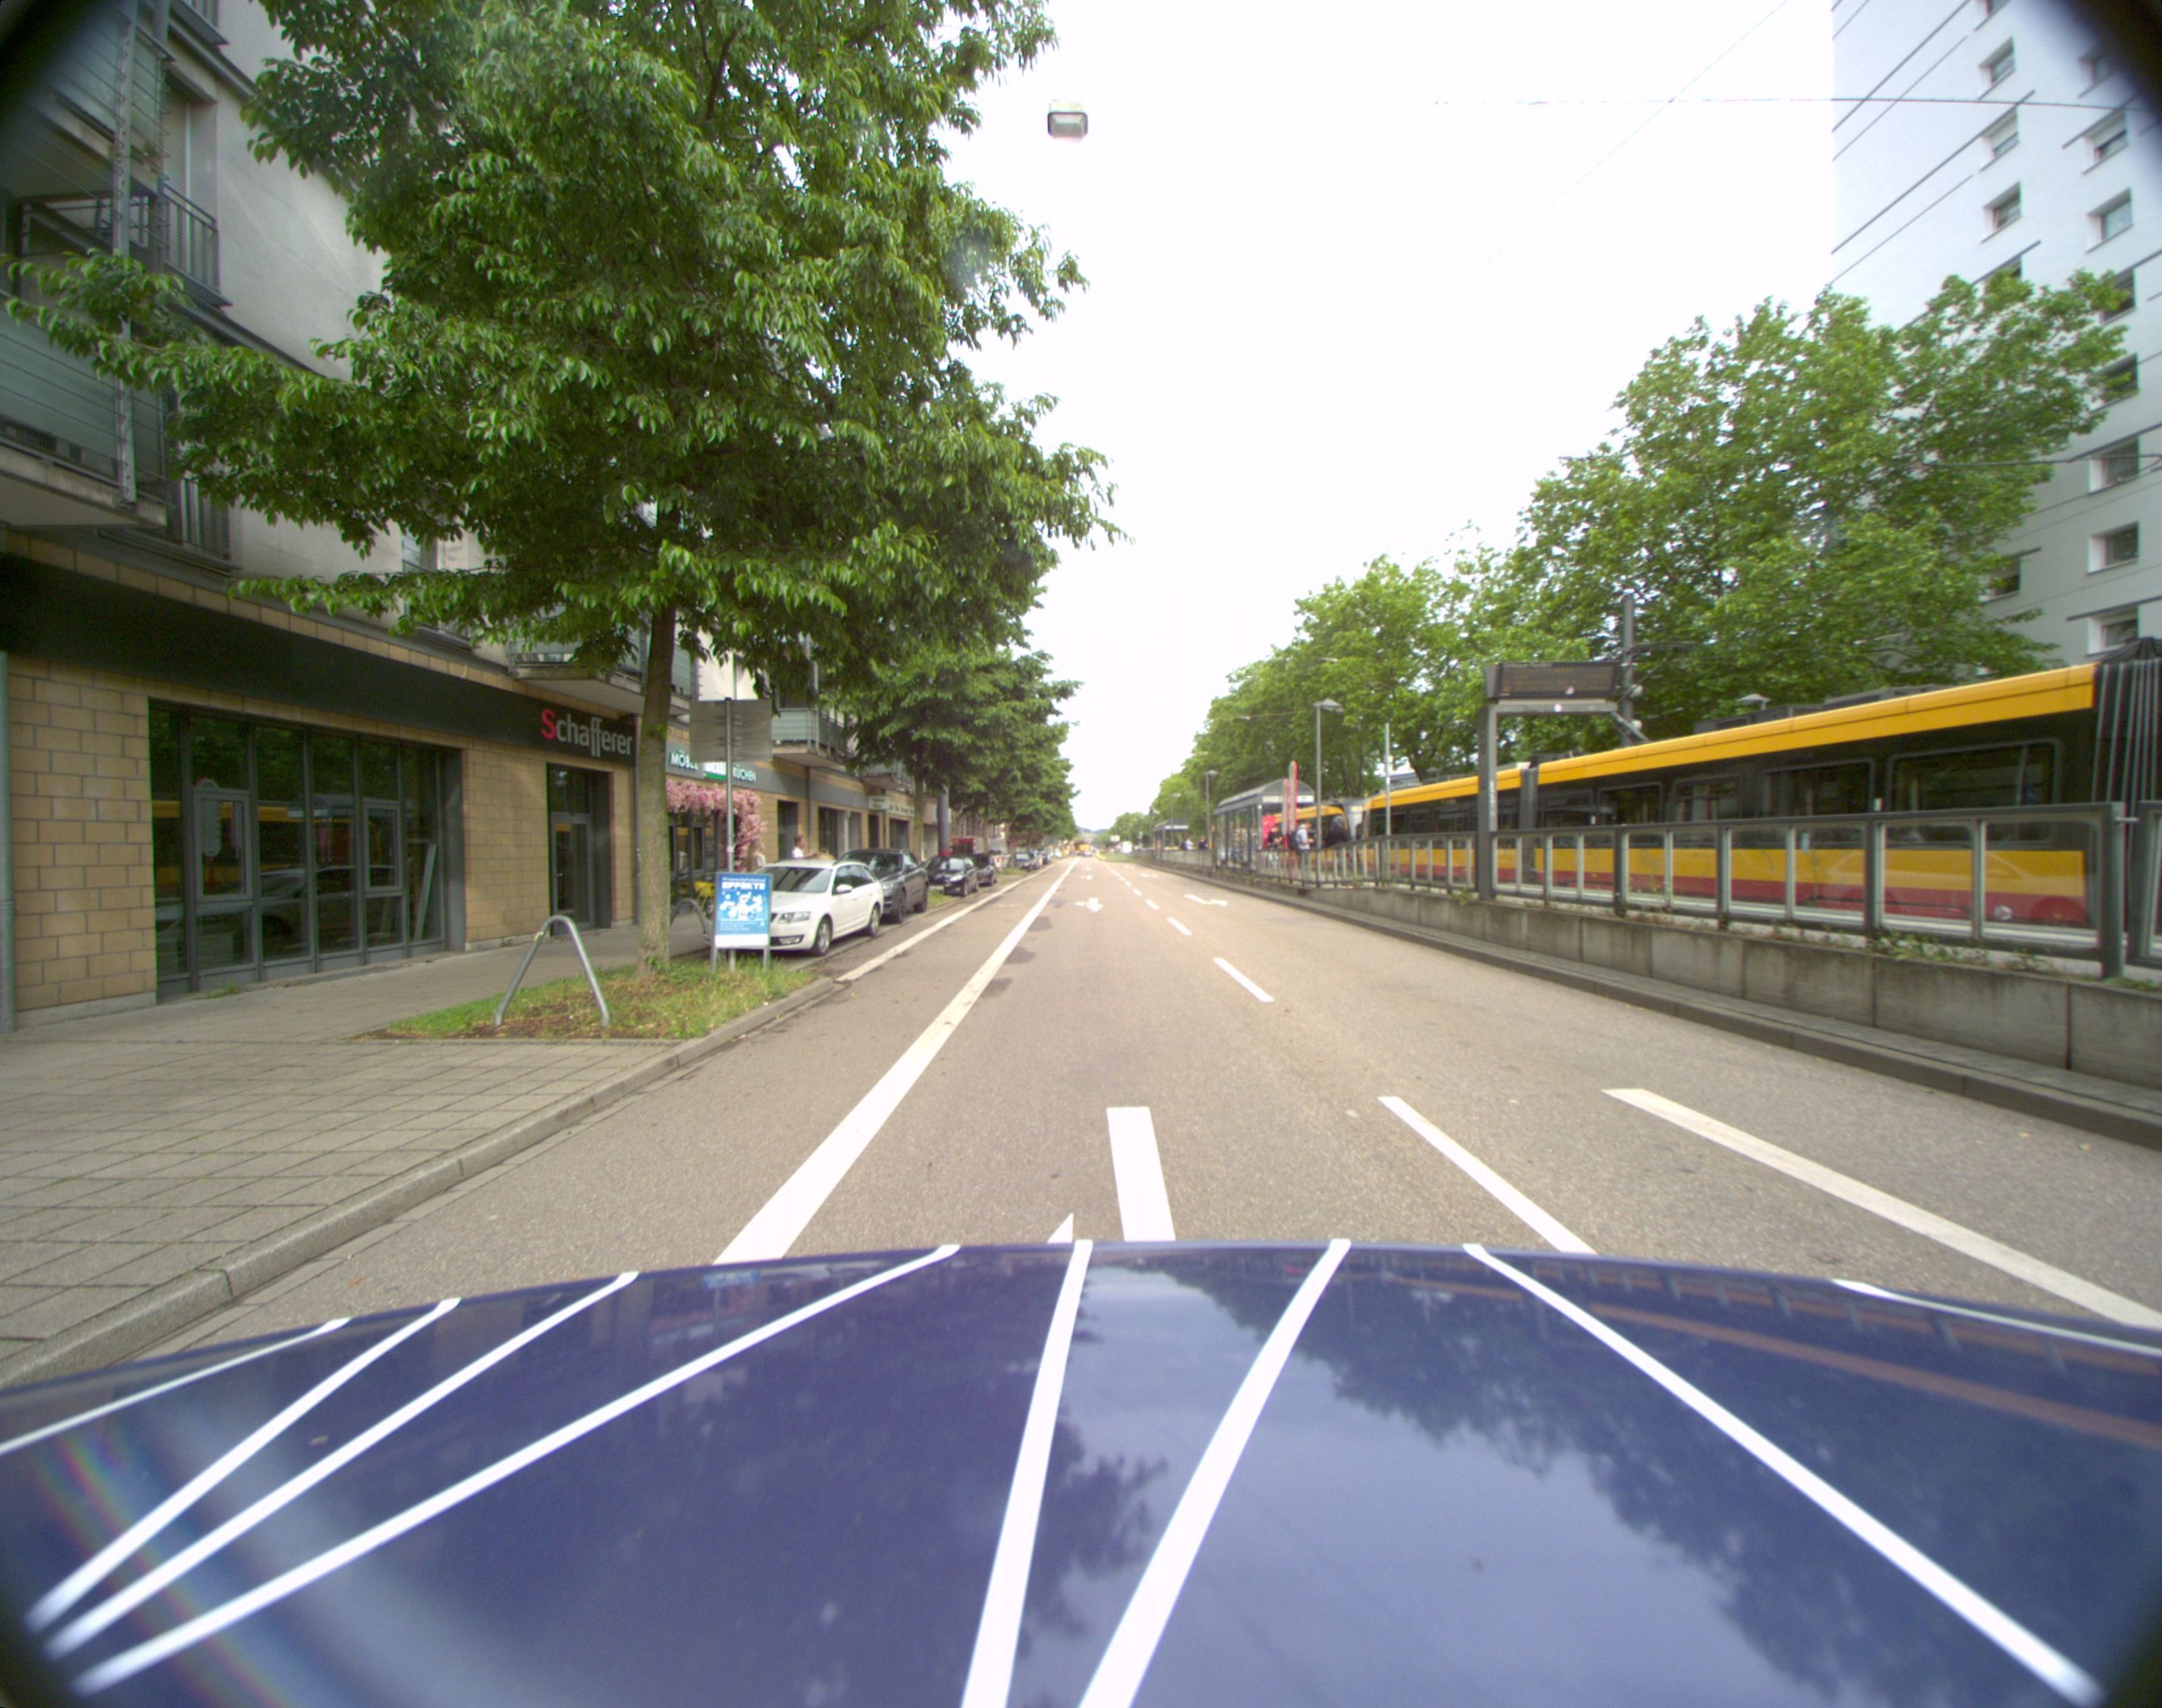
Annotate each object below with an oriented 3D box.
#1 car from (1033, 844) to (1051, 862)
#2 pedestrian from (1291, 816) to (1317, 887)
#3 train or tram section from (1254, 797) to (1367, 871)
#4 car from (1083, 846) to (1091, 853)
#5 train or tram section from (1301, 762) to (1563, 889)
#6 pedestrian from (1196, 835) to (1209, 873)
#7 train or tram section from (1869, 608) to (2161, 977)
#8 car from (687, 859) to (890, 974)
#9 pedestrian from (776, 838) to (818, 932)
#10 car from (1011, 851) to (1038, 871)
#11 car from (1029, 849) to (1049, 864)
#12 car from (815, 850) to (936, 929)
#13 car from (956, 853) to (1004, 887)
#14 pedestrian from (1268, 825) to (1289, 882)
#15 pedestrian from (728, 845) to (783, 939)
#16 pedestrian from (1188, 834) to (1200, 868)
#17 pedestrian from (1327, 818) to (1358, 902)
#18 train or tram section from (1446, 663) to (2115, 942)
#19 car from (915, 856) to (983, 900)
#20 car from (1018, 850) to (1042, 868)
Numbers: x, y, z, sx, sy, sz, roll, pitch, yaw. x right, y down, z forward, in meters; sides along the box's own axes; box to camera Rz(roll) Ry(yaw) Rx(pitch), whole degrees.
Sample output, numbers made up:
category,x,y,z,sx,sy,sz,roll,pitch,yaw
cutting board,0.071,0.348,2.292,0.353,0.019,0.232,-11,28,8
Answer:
category,x,y,z,sx,sy,sz,roll,pitch,yaw
car,-3.971,-0.130,78.237,1.612,1.674,3.806,2,1,1
pedestrian,5.748,-0.061,19.564,0.475,1.794,0.605,-2,1,5
train or tram section,13.153,-1.106,44.885,3.338,3.731,11.042,-2,1,1
car,1.304,-0.918,162.419,1.716,1.379,4.099,-2,1,1
train or tram section,12.969,-0.946,31.134,3.338,3.731,16.247,-2,1,1
pedestrian,5.841,0.005,36.539,0.530,1.794,0.606,-2,1,14
train or tram section,12.540,-0.616,2.938,3.338,3.731,15.202,-2,1,1
car,-4.725,0.905,13.016,1.738,1.512,4.308,2,1,1
pedestrian,-5.790,0.623,15.519,0.599,1.873,0.656,-1,1,-5
car,-4.137,0.489,56.276,1.612,1.393,3.667,2,1,1
car,-3.977,0.219,72.466,1.612,1.393,3.667,2,1,1
car,-4.721,0.746,18.019,1.738,1.601,3.798,2,1,1
car,-4.563,0.691,34.752,1.612,1.393,3.667,2,1,1
pedestrian,6.306,-0.024,24.215,0.474,1.794,0.606,-2,1,26
pedestrian,-6.063,0.681,14.153,0.616,1.707,0.740,1,2,41
pedestrian,6.134,-0.172,41.356,0.530,1.794,0.606,-2,1,14
pedestrian,5.700,0.123,16.596,0.521,1.794,0.605,-2,1,13
train or tram section,12.744,-0.778,16.825,3.338,3.731,12.547,-2,1,1
car,-4.643,0.800,27.291,1.612,1.369,4.167,2,1,1
car,-4.131,0.373,62.180,1.612,1.393,3.667,2,1,1
